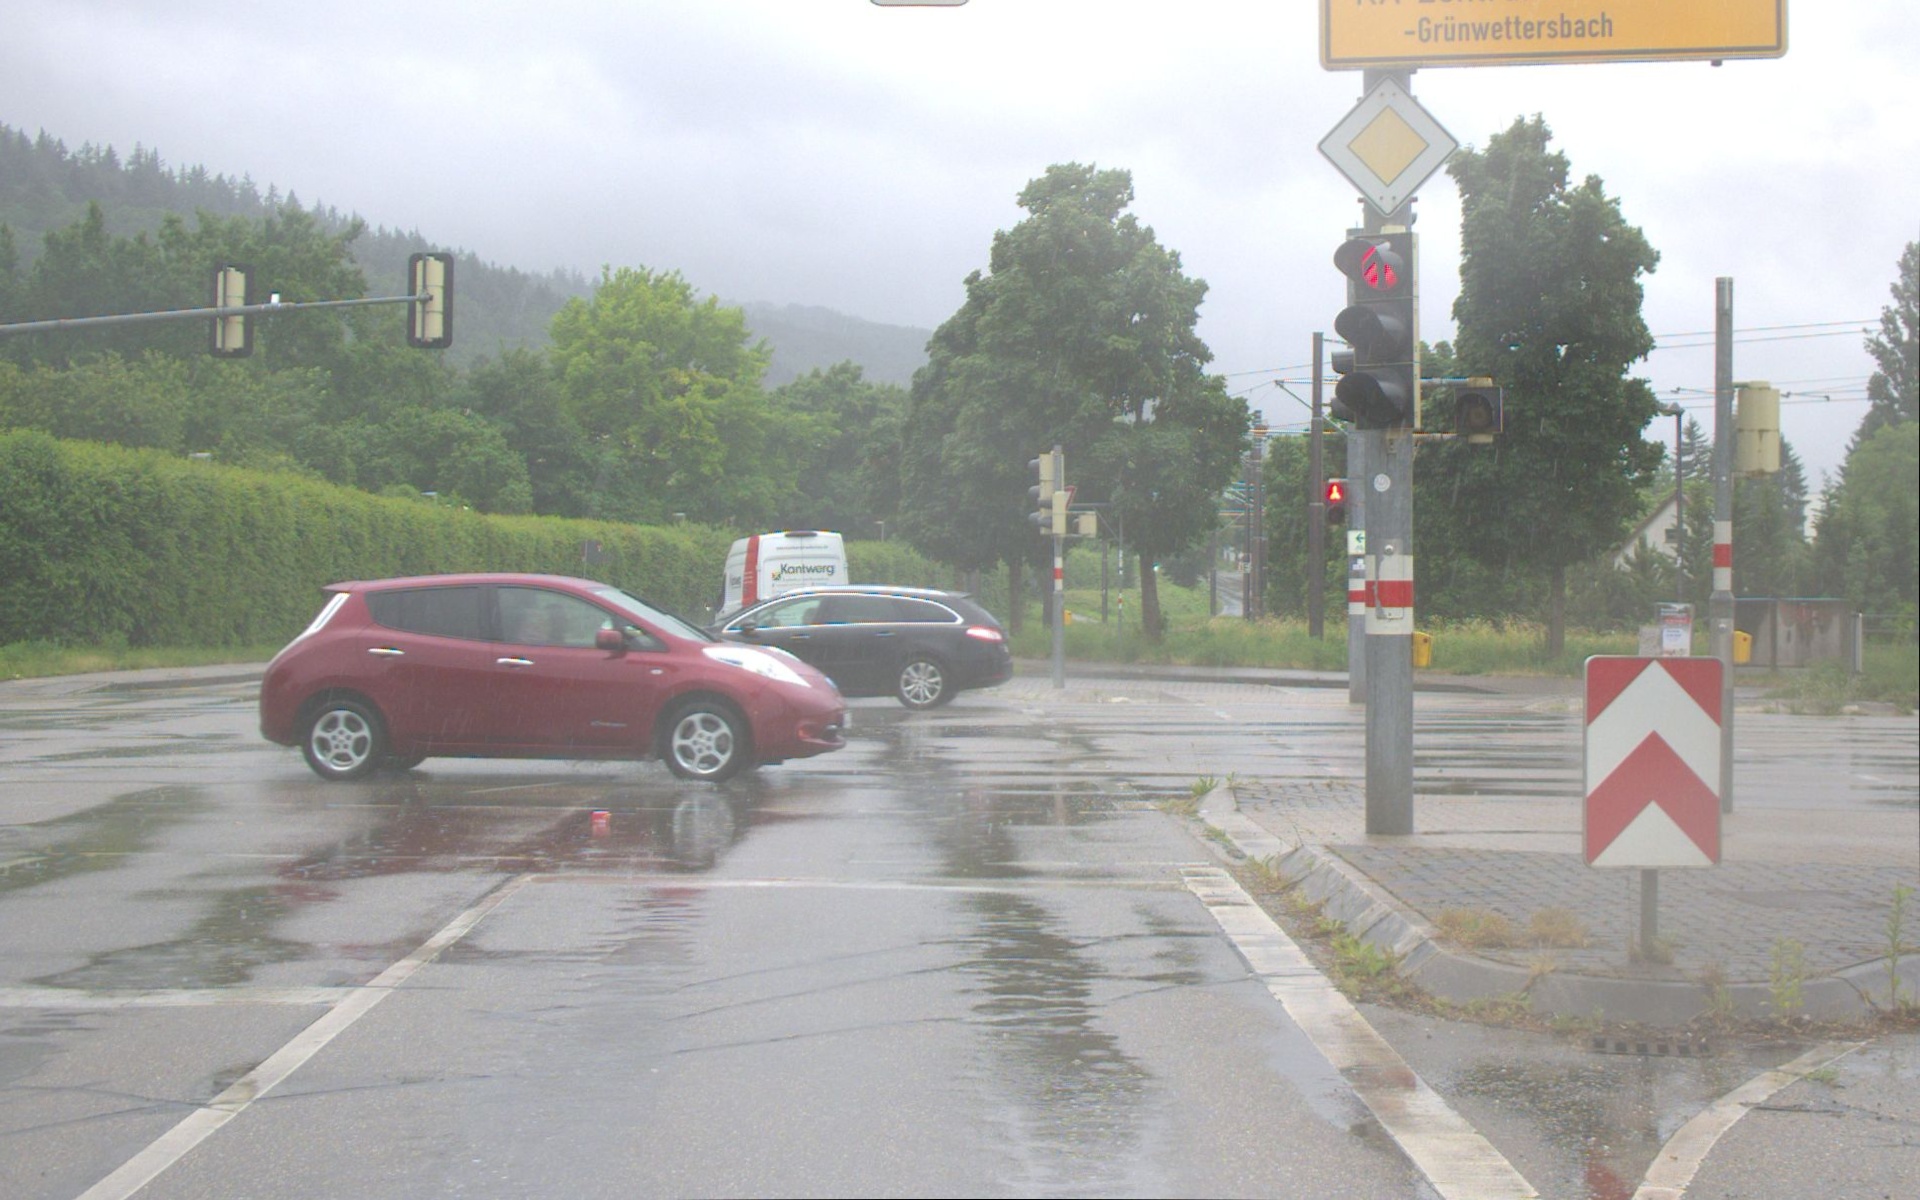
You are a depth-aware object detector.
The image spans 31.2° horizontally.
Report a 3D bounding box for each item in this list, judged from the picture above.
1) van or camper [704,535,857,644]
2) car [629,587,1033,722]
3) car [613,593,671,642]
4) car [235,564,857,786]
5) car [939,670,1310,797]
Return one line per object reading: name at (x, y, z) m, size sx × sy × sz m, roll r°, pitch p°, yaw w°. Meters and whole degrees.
van or camper at (-3.746, -0.229, 70.851) m, size 2.153 × 2.162 × 4.866 m, roll 0°, pitch 1°, yaw -15°
car at (-1.492, 0.634, 40.964) m, size 4.670 × 1.548 × 1.822 m, roll 0°, pitch 0°, yaw 3°
car at (-9.982, 0.537, 108.067) m, size 1.558 × 1.476 × 3.361 m, roll 0°, pitch 1°, yaw -1°
car at (-3.066, 0.530, 25.929) m, size 4.376 × 1.574 × 1.732 m, roll 0°, pitch 1°, yaw 6°
car at (2.111, 1.706, 44.282) m, size 4.670 × 1.548 × 1.822 m, roll 0°, pitch 0°, yaw 3°
